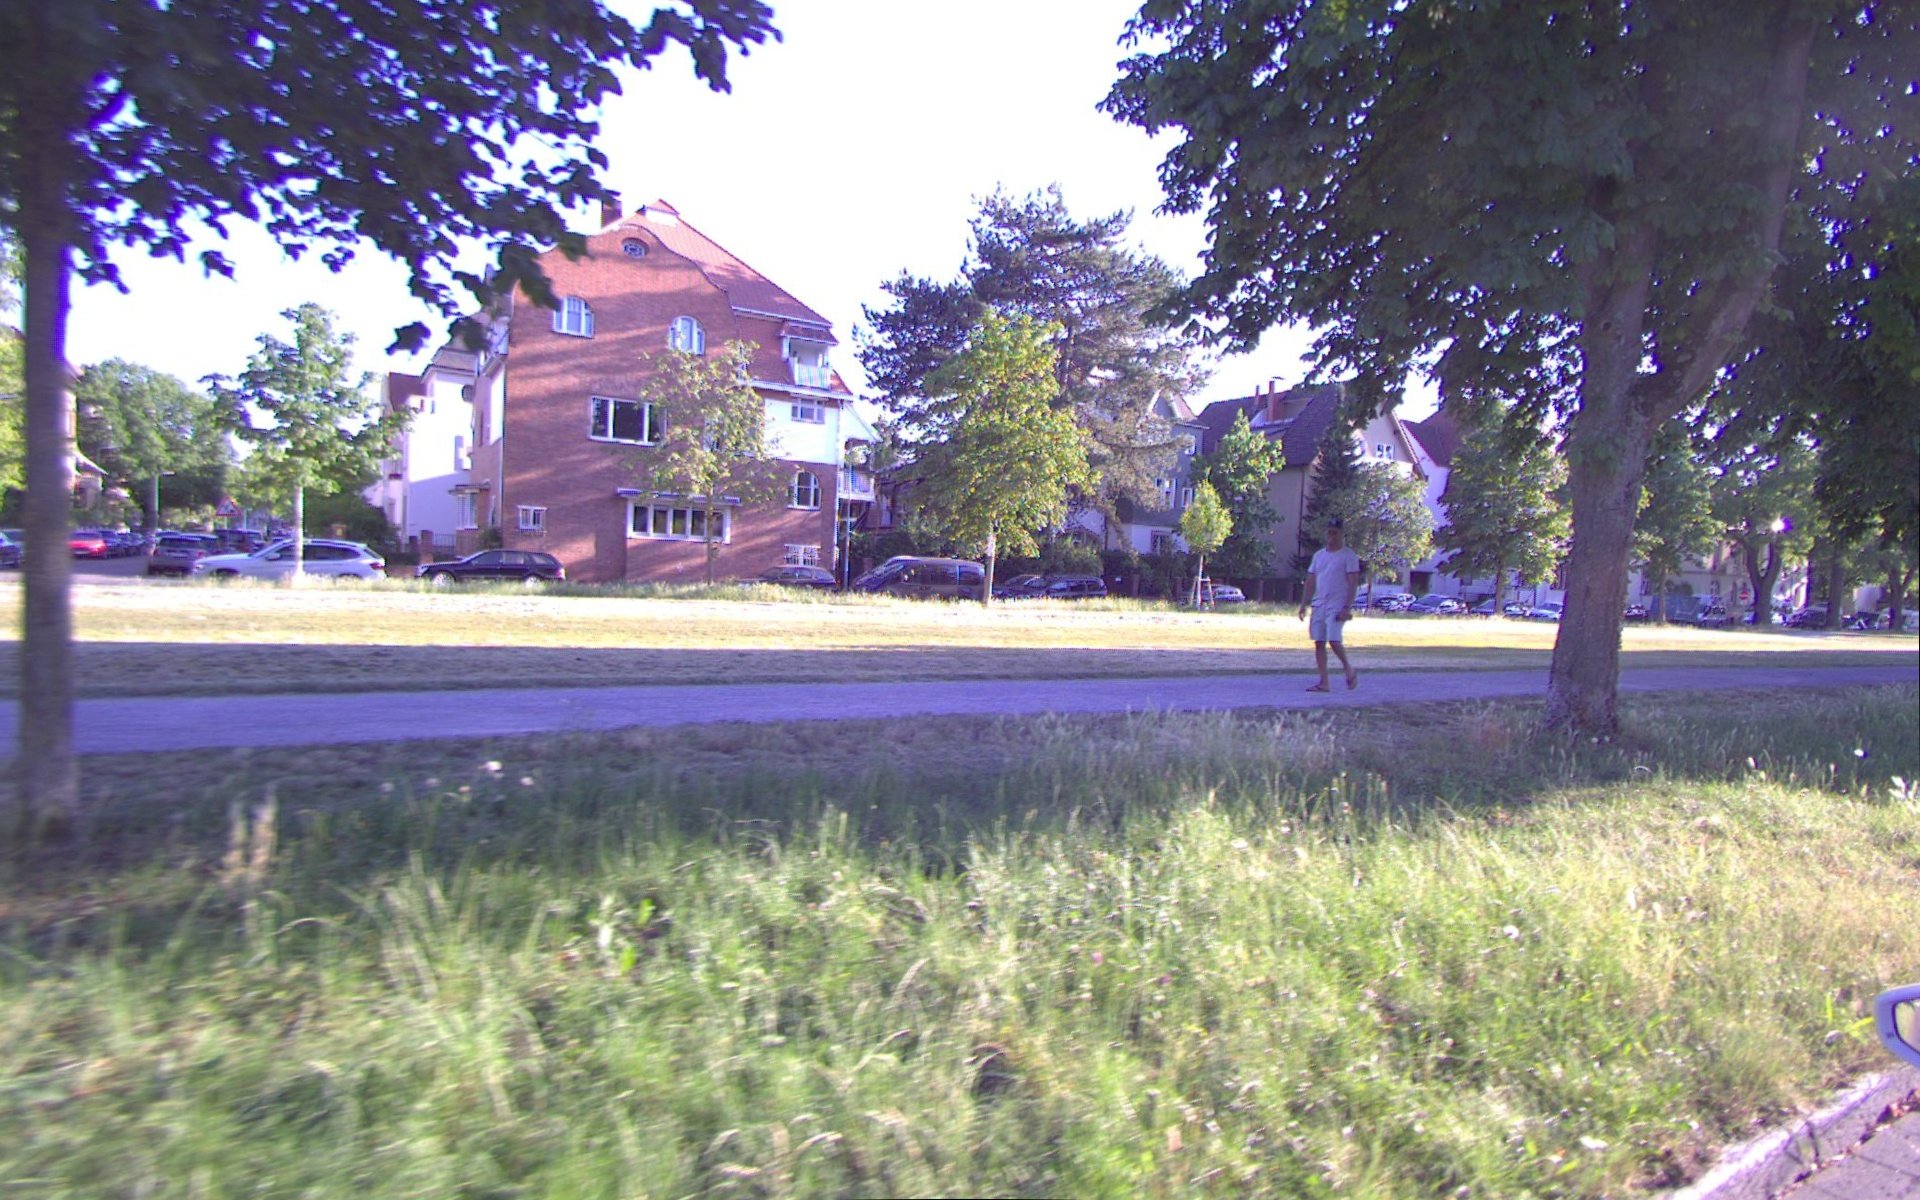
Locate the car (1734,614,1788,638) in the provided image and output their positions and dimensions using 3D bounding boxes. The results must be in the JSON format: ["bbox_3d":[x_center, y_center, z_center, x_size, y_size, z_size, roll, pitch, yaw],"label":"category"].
[{"bbox_3d":[59.573,1.939,74.680,4.264,1.580,1.676,3,1,-30],"label":"car"}]

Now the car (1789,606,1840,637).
[{"bbox_3d":[68.238,1.719,80.237,4.263,2.205,1.676,2,2,-30],"label":"car"}]

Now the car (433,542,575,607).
[{"bbox_3d":[-15.865,-0.876,34.975,4.317,2.041,1.748,2,2,-31],"label":"car"}]

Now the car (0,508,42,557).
[{"bbox_3d":[-33.600,-2.380,34.475,1.976,1.629,4.832,2,2,-29],"label":"car"}]

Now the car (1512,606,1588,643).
[{"bbox_3d":[35.224,1.477,59.973,4.205,1.885,1.984,3,2,-30],"label":"car"}]

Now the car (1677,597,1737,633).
[{"bbox_3d":[61.582,1.256,82.757,5.127,2.708,1.983,3,2,-31],"label":"car"}]

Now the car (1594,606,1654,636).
[{"bbox_3d":[50.464,1.584,76.309,4.698,1.979,1.982,3,1,-32],"label":"car"}]

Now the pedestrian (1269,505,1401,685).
[{"bbox_3d":[3.887,-0.046,10.439,0.979,1.781,0.722,2,2,-24],"label":"pedestrian"}]

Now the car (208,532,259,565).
[{"bbox_3d":[-39.609,-2.811,54.832,1.815,1.595,3.876,2,2,-31],"label":"car"}]

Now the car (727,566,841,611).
[{"bbox_3d":[-7.234,-0.464,41.326,4.255,1.645,1.748,2,2,-31],"label":"car"}]

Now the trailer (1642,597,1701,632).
[{"bbox_3d":[56.450,1.168,79.635,4.669,2.460,1.983,3,1,-31],"label":"trailer"}]

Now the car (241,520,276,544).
[{"bbox_3d":[-52.016,-5.031,74.503,1.815,1.595,3.876,2,2,-31],"label":"car"}]

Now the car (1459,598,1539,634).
[{"bbox_3d":[30.606,0.892,57.033,4.205,1.744,1.984,3,2,-30],"label":"car"}]

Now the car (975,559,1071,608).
[{"bbox_3d":[2.949,-0.754,46.951,3.952,2.040,1.984,2,2,-29],"label":"car"}]

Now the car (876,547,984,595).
[{"bbox_3d":[-1.305,-1.258,44.282,4.357,1.862,1.807,2,2,-31],"label":"car"}]

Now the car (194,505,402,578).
[{"bbox_3d":[-17.989,-1.567,27.587,4.598,1.661,1.809,2,2,-31],"label":"car"}]

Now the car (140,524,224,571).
[{"bbox_3d":[-28.563,-1.943,36.999,1.843,1.506,3.968,2,2,-29],"label":"car"}]

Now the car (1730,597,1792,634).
[{"bbox_3d":[70.530,1.356,88.419,5.752,2.961,2.425,3,-1,-31],"label":"car"}]

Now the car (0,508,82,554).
[{"bbox_3d":[-36.384,-2.714,39.195,2.163,1.629,4.832,2,2,-29],"label":"car"}]

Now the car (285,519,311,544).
[{"bbox_3d":[-65.093,-6.741,98.690,1.981,2.208,3.960,2,2,-35],"label":"car"}]

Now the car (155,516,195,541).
[{"bbox_3d":[-62.443,-5.674,79.951,1.978,1.876,3.965,2,2,-31],"label":"car"}]

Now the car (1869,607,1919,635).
[{"bbox_3d":[83.913,1.927,89.675,5.395,2.266,2.522,2,1,-31],"label":"car"}]

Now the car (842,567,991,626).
[{"bbox_3d":[-1.598,-0.124,37.664,5.184,1.966,1.984,2,2,-30],"label":"car"}]

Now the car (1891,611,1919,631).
[{"bbox_3d":[101.818,2.230,107.511,4.433,2.040,1.984,0,-1,-31],"label":"car"}]

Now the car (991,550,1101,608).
[{"bbox_3d":[3.523,-0.858,41.035,3.954,2.040,1.983,3,3,-31],"label":"car"}]

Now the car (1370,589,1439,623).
[{"bbox_3d":[27.474,0.375,62.061,3.958,1.806,1.982,3,2,-33],"label":"car"}]

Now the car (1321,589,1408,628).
[{"bbox_3d":[20.717,0.419,51.456,3.951,1.706,1.985,3,2,-29],"label":"car"}]

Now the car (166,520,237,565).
[{"bbox_3d":[-30.545,-2.309,40.555,1.815,1.595,3.876,2,2,-31],"label":"car"}]

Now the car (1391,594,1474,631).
[{"bbox_3d":[25.410,0.674,53.999,3.951,1.706,1.985,3,2,-29],"label":"car"}]

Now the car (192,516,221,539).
[{"bbox_3d":[-70.824,-6.804,94.420,1.981,2.040,3.960,2,2,-35],"label":"car"}]

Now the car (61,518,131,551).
[{"bbox_3d":[-44.669,-3.398,52.022,1.976,1.506,3.968,2,2,-29],"label":"car"}]
